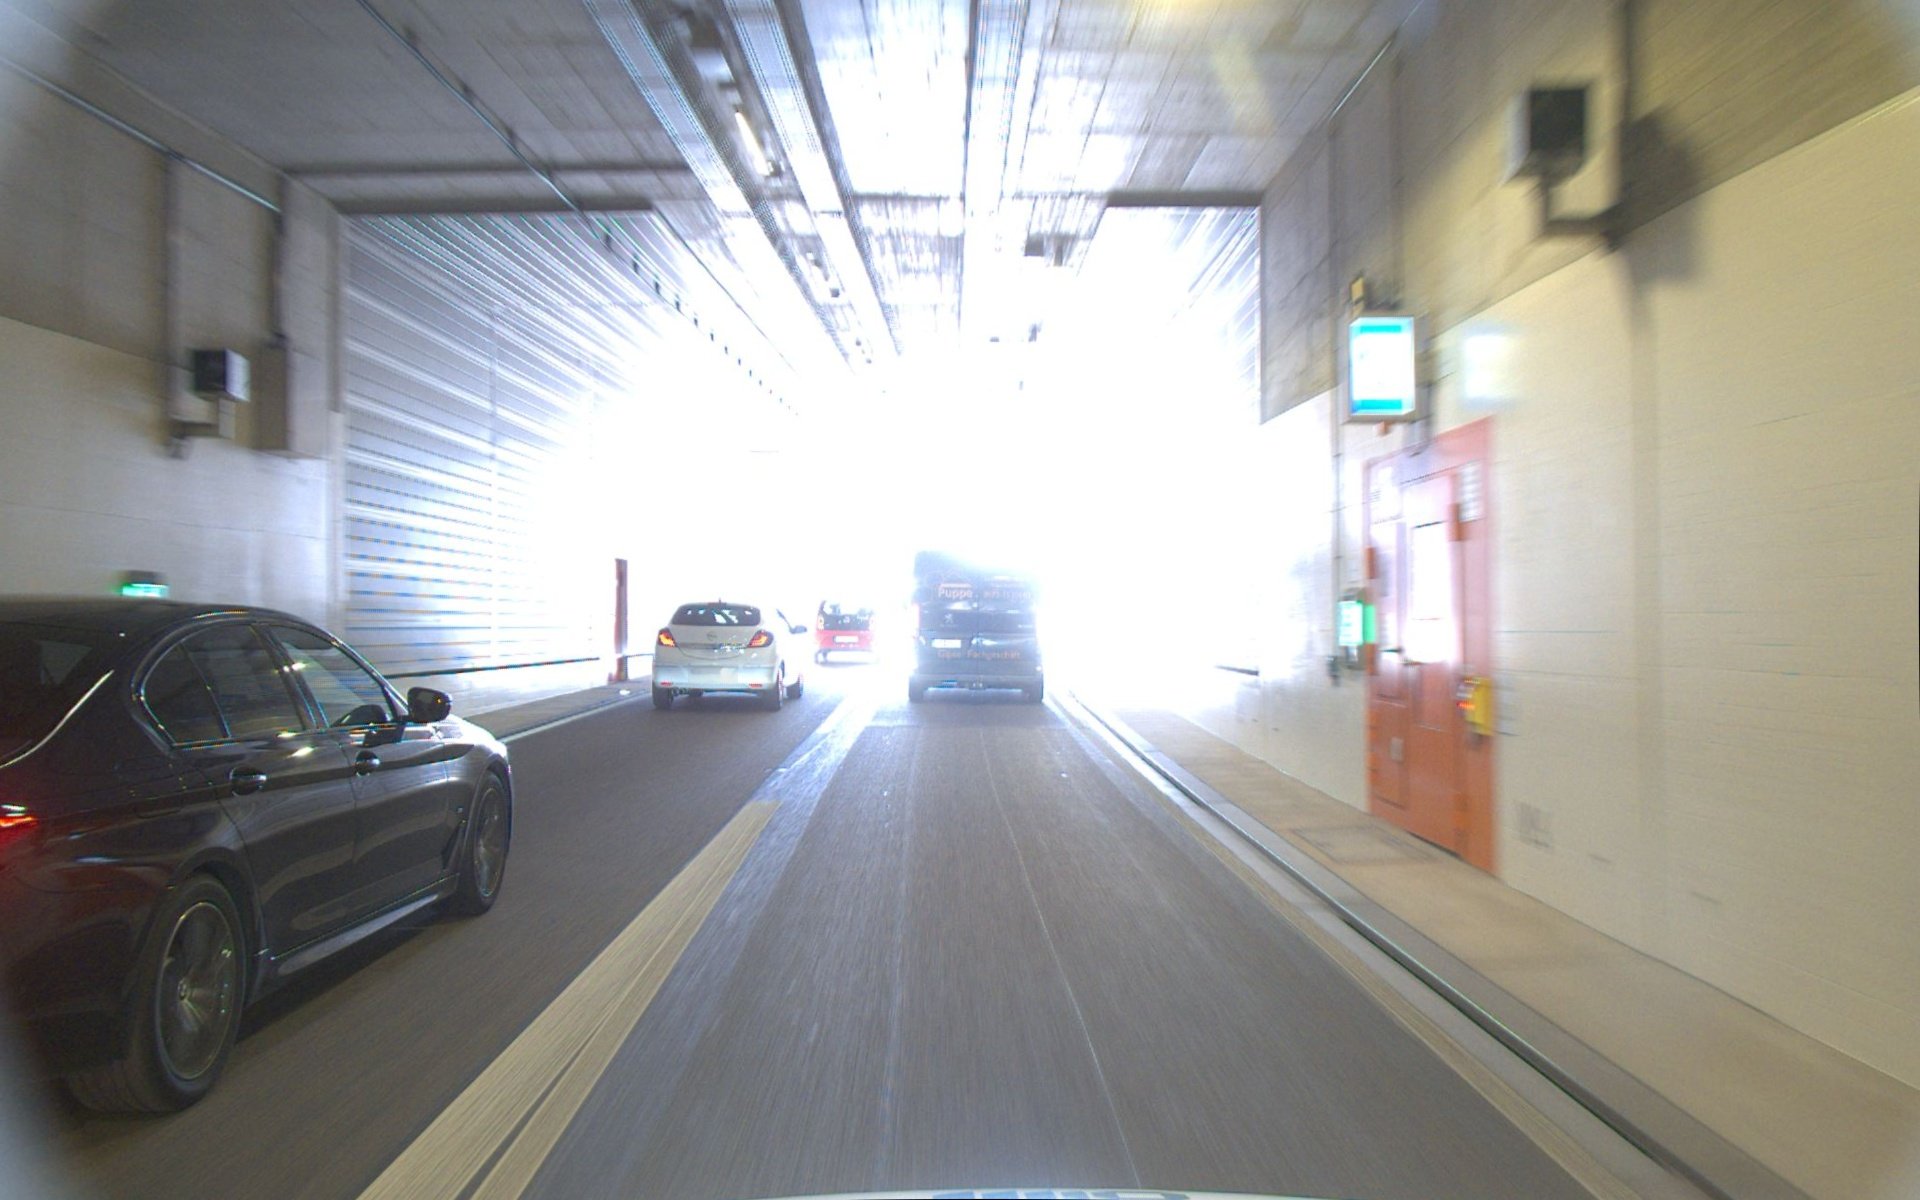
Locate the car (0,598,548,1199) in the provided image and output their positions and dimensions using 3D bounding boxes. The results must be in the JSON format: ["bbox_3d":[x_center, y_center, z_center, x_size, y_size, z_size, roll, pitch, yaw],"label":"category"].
[{"bbox_3d":[-2.955,0.732,6.034,1.661,1.447,4.851,1,0,0],"label":"car"}]

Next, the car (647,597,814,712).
[{"bbox_3d":[-3.052,0.681,22.690,1.673,1.438,3.974,0,0,1],"label":"car"}]

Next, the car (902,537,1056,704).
[{"bbox_3d":[0.287,0.271,25.503,2.114,2.305,4.637,1,0,0],"label":"car"}]

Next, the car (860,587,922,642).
[{"bbox_3d":[-2.163,0.488,52.485,1.838,1.609,4.219,2,-1,-1],"label":"car"}]

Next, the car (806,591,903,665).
[{"bbox_3d":[-2.332,0.586,37.414,1.777,1.538,4.221,1,0,2],"label":"car"}]
